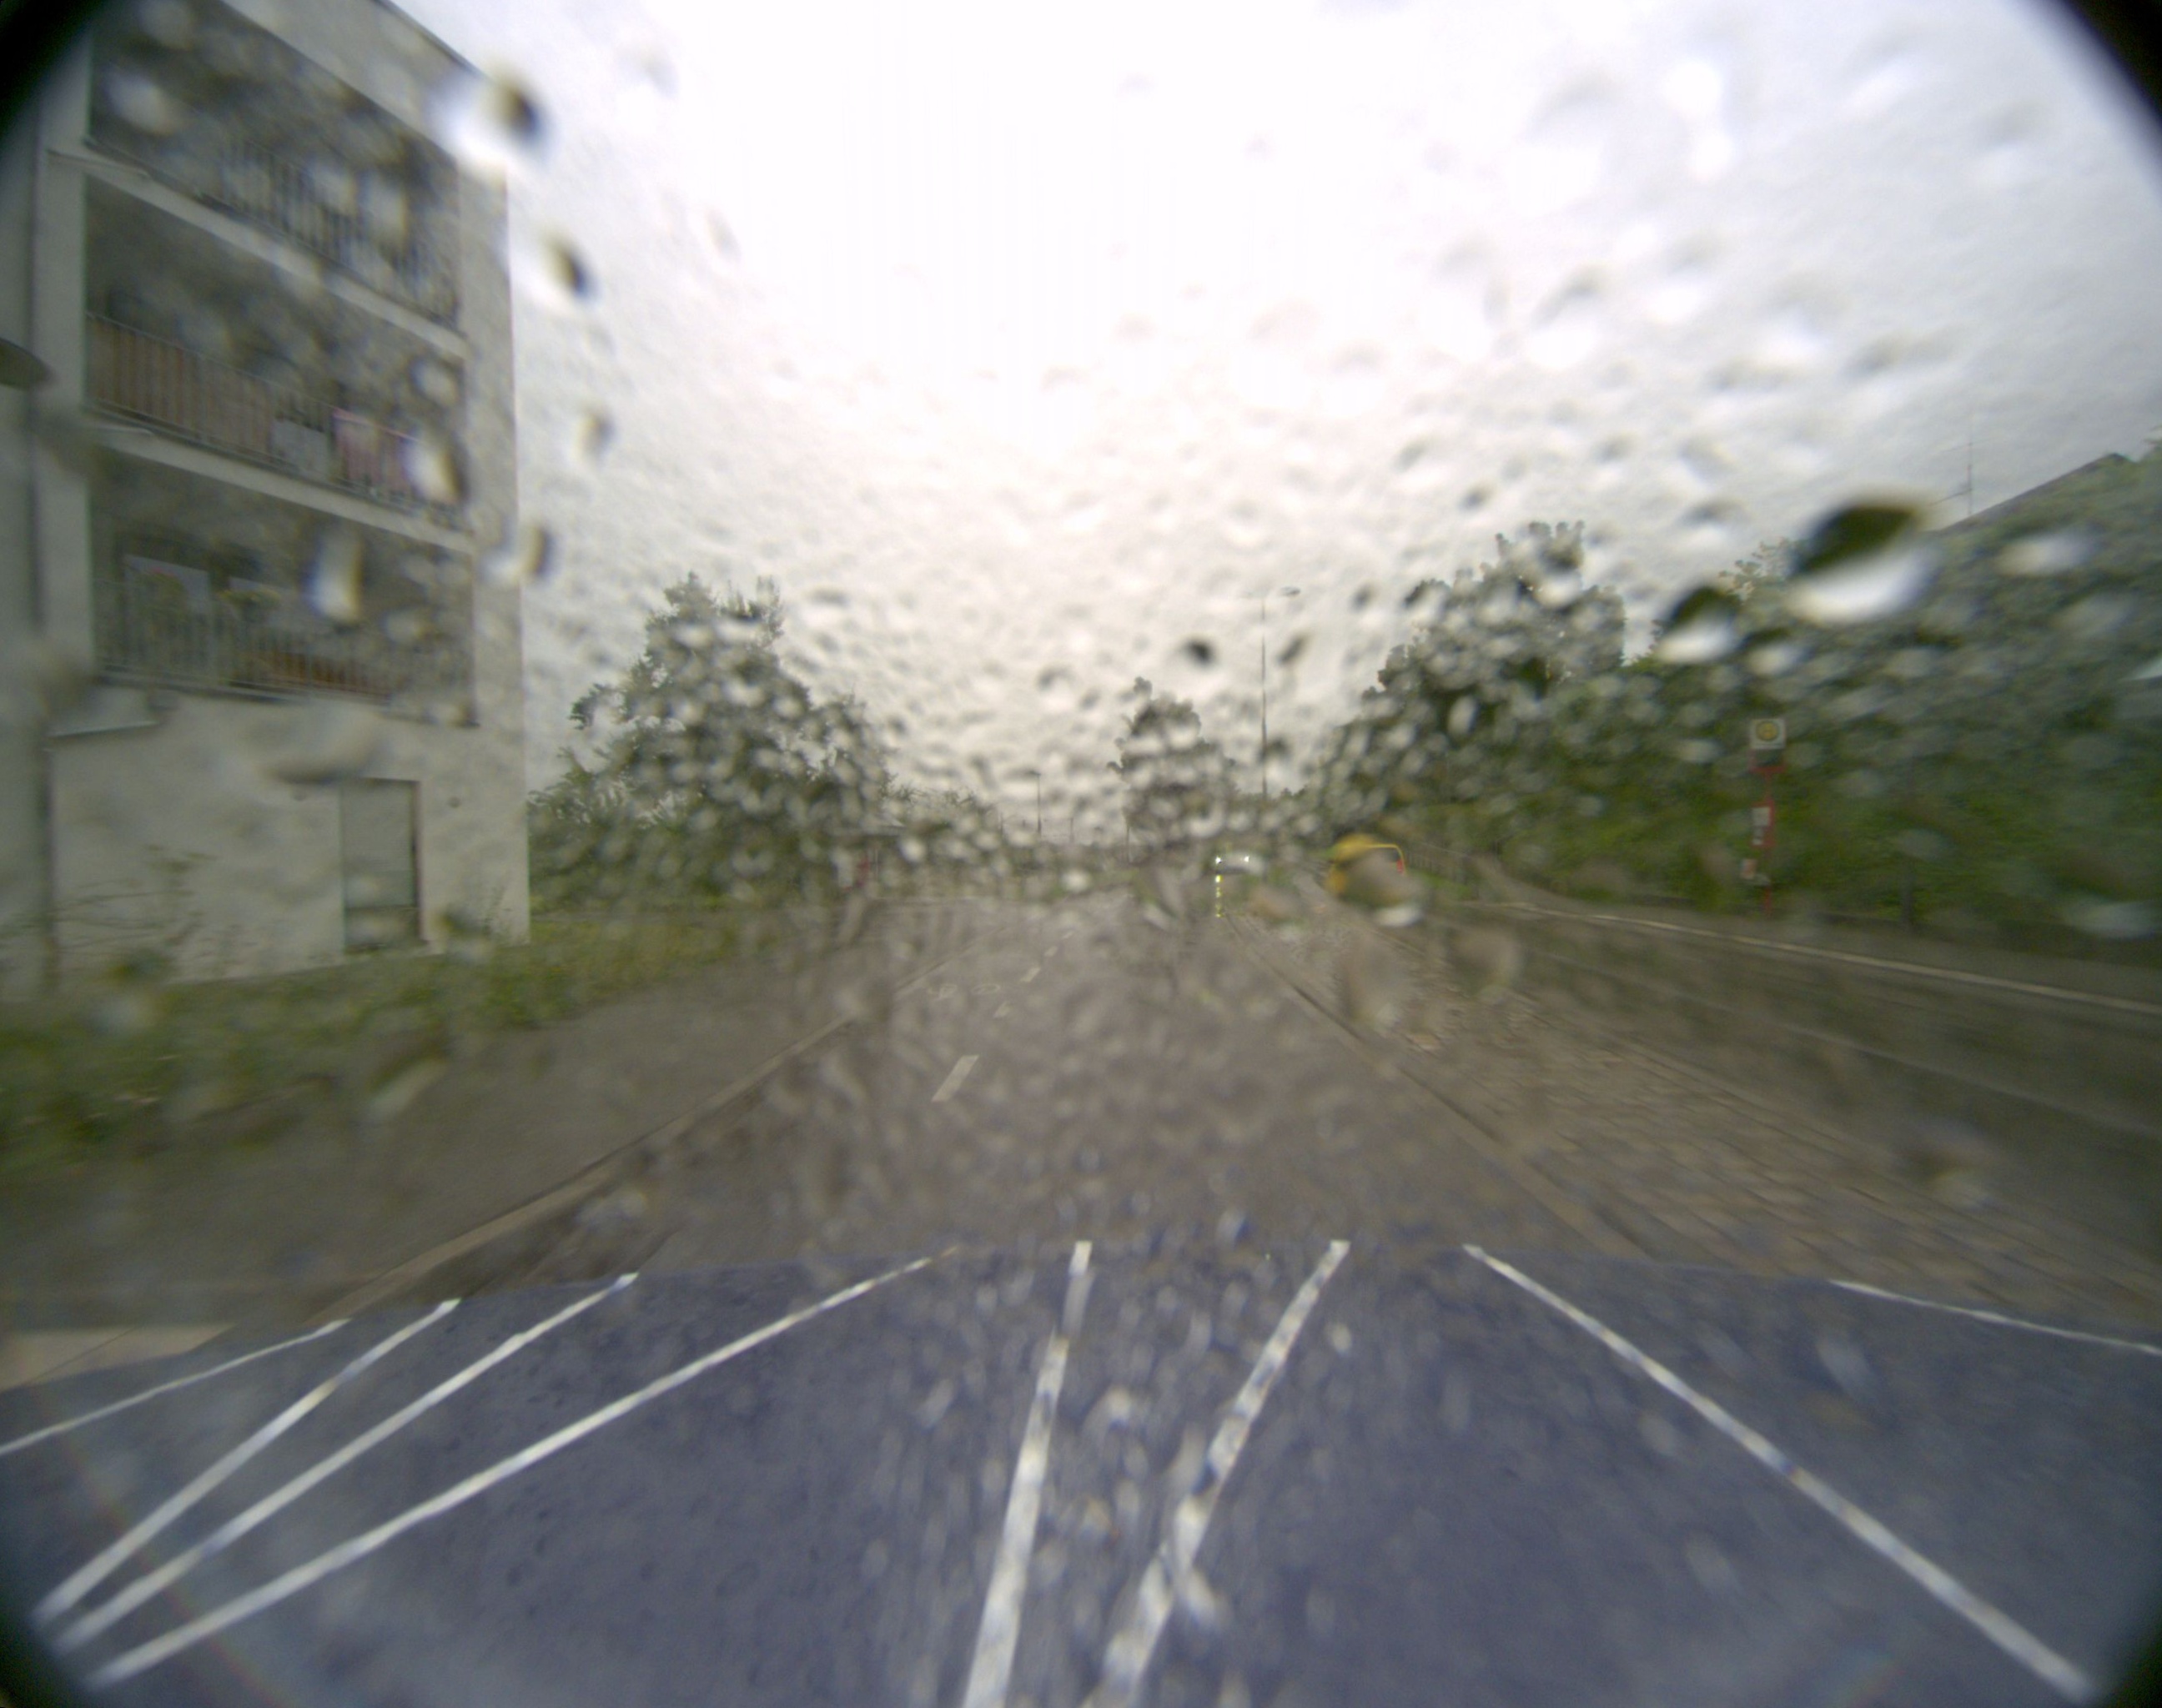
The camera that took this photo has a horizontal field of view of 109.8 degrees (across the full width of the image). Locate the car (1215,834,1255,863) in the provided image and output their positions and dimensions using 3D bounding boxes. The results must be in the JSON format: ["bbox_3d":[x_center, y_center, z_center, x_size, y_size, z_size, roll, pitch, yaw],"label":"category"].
[{"bbox_3d":[8.214,-0.262,40.412,1.762,1.477,3.796,-1,-1,16],"label":"car"}]

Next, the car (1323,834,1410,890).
[{"bbox_3d":[7.770,0.155,20.956,1.575,1.402,3.476,1,1,9],"label":"car"}]

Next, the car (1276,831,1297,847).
[{"bbox_3d":[20.220,-1.523,74.889,1.763,1.495,4.144,0,2,12],"label":"car"}]
